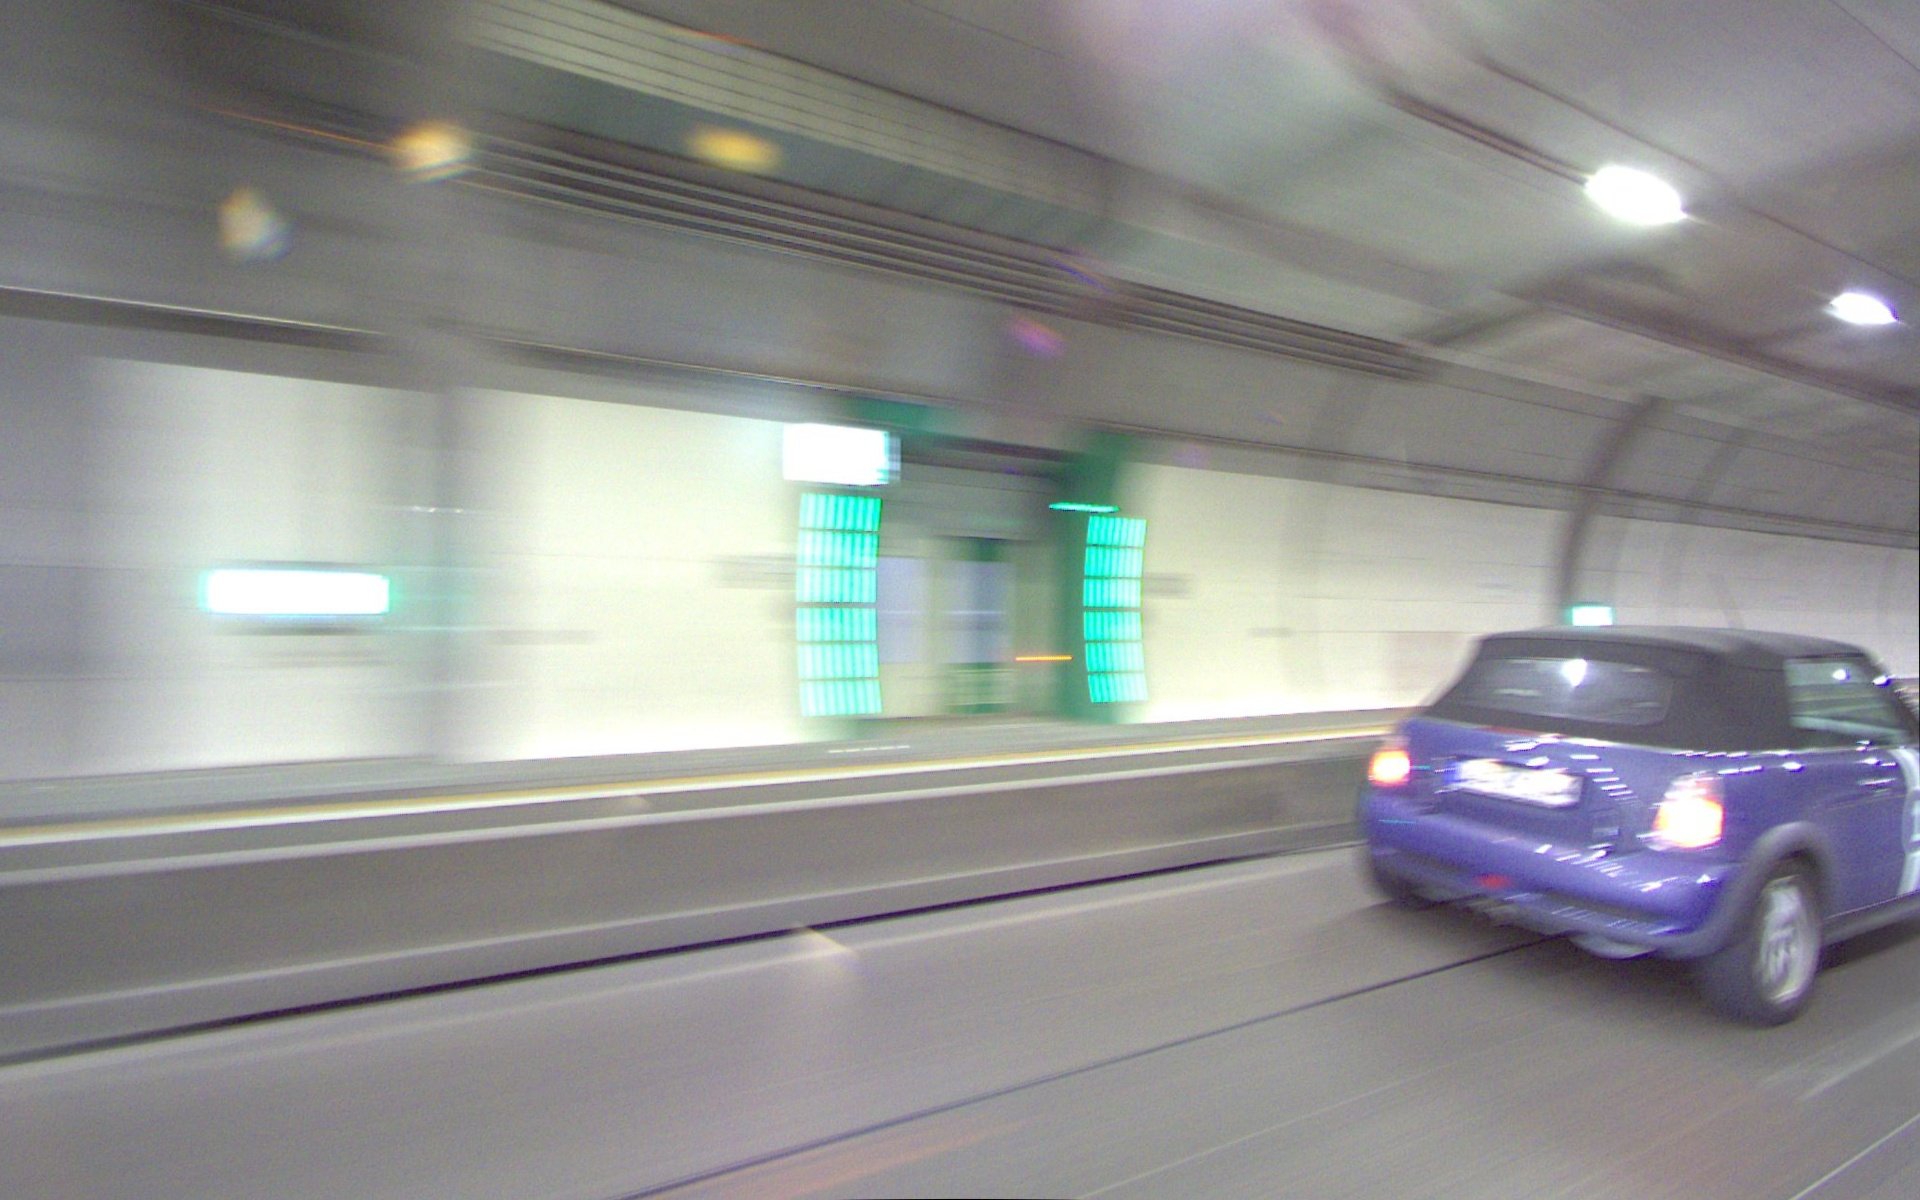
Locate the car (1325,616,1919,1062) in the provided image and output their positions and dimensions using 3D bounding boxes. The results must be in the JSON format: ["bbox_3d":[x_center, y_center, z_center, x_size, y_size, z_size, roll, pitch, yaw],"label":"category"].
[{"bbox_3d":[3.828,0.837,5.040,3.877,1.436,1.681,1,0,-31],"label":"car"}]
